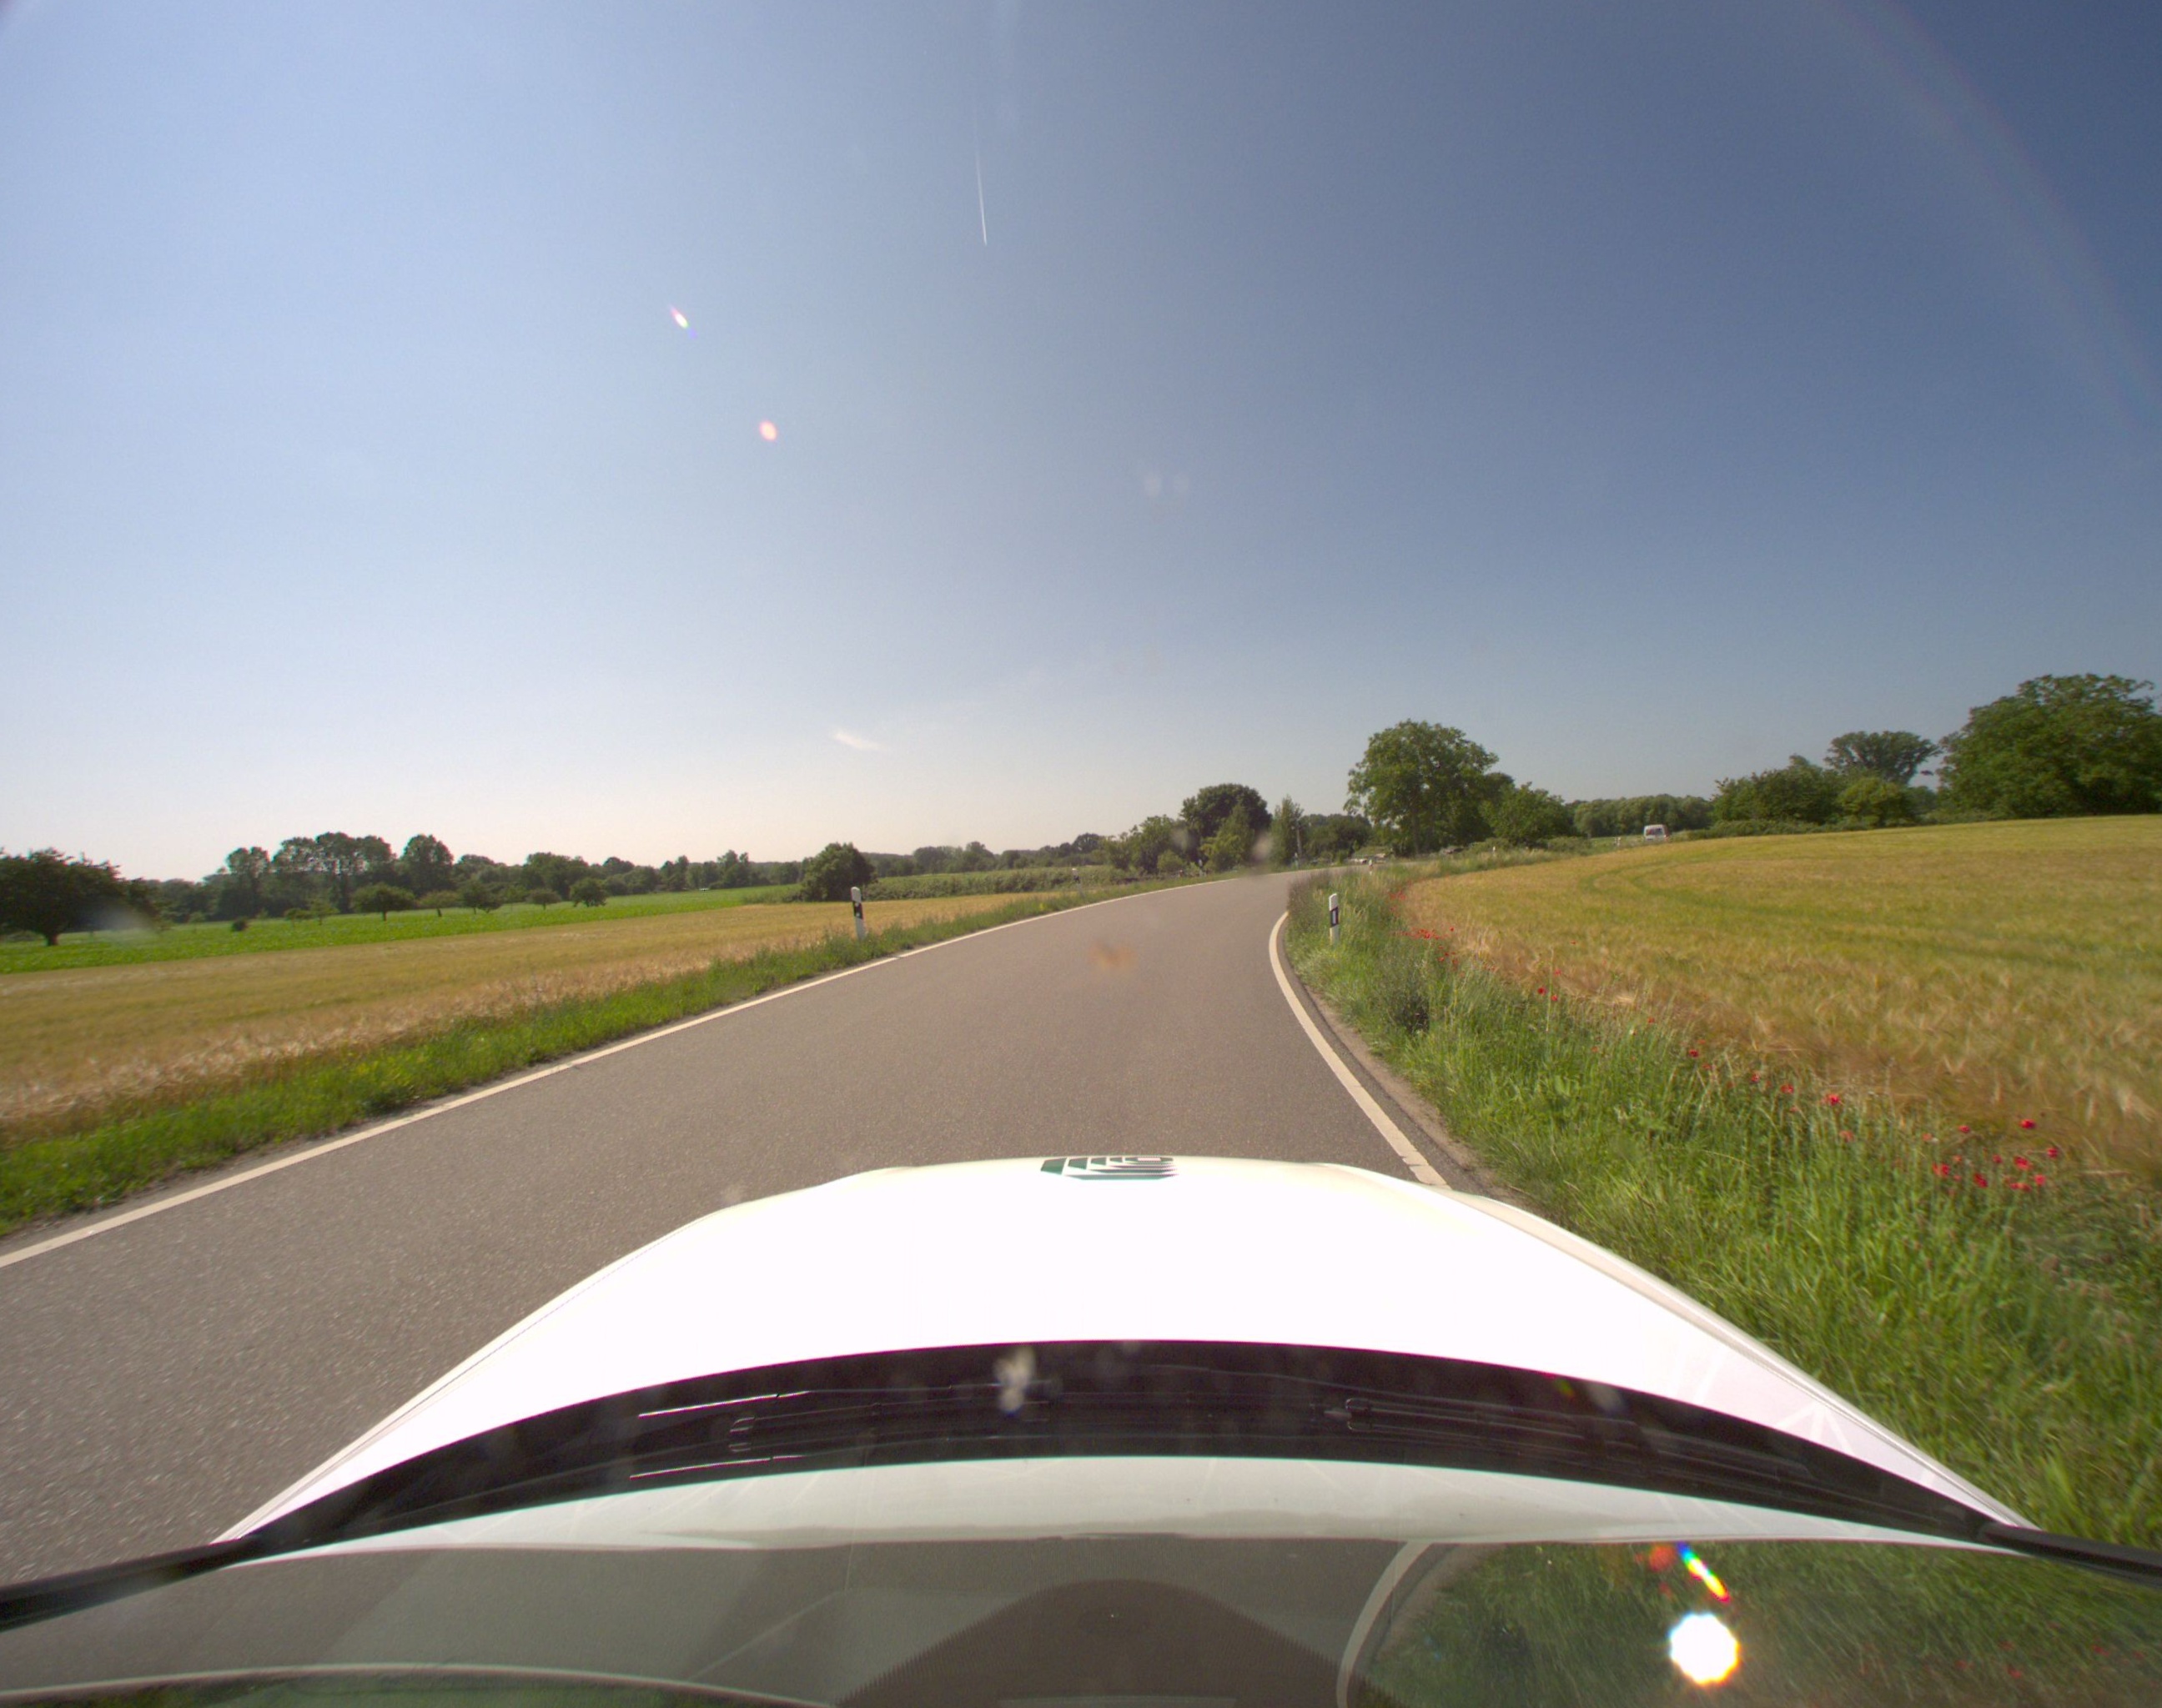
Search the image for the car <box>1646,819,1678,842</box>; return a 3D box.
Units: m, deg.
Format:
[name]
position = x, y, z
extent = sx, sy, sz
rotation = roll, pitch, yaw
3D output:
[car]
position = 65.458, -2.699, 91.717
extent = 2.084, 2.367, 5.722
rotation = -4, 0, 42
